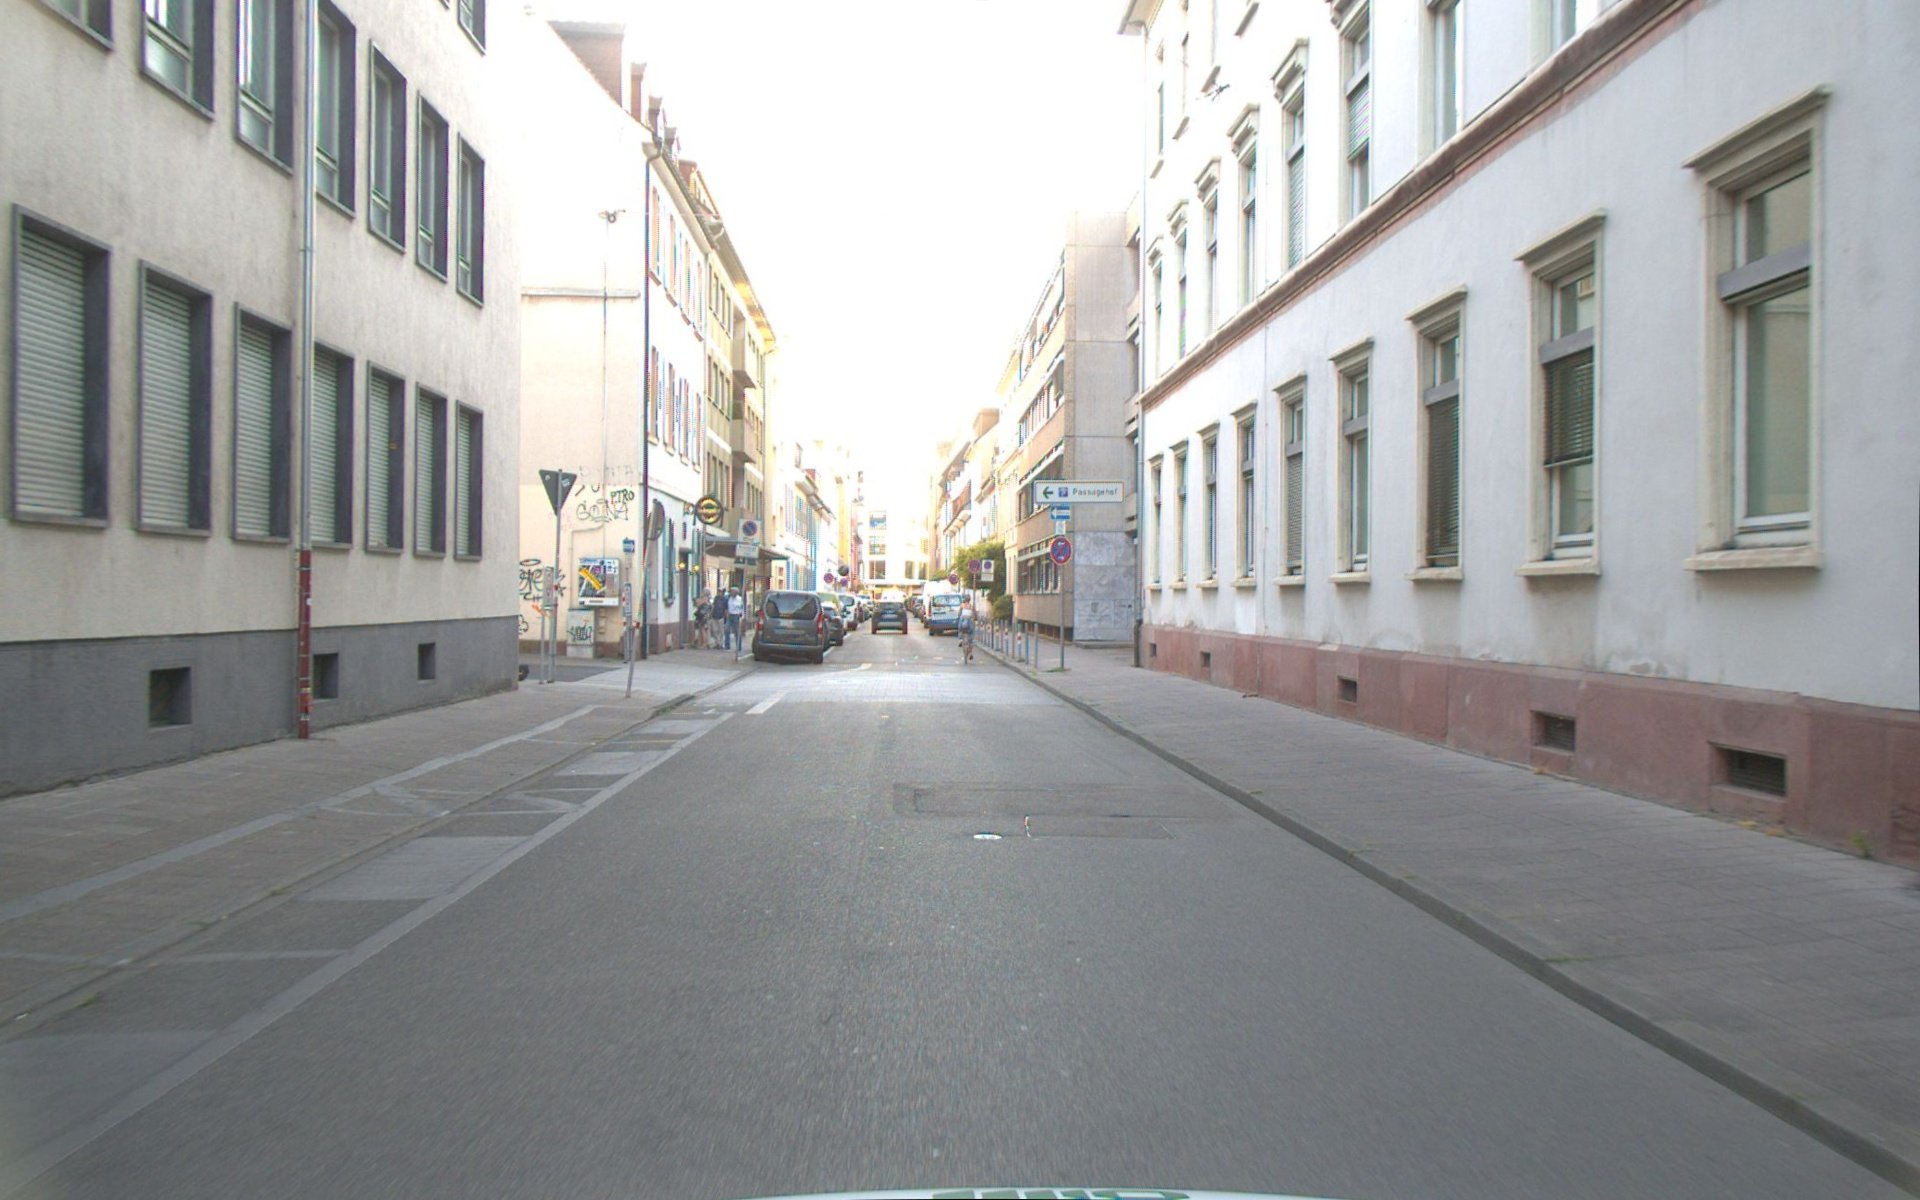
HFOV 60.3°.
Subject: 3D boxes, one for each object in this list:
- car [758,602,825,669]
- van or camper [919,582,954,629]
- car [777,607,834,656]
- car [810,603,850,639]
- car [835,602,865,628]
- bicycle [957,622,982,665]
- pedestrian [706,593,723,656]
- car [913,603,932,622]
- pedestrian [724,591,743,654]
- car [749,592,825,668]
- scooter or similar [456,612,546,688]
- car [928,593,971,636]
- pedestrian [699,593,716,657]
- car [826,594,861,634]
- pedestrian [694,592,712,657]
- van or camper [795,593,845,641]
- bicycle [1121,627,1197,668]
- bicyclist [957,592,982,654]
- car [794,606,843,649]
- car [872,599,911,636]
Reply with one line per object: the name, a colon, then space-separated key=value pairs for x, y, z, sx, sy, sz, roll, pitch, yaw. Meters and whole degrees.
car: x=-4.899 y=0.993 z=48.464 sx=1.737 sy=1.843 sz=4.507 roll=1 pitch=0 yaw=-3
van or camper: x=-1.413 y=0.338 z=97.507 sx=2.008 sy=2.684 sz=7.060 roll=0 pitch=0 yaw=-1
car: x=-4.947 y=0.998 z=53.252 sx=1.591 sy=1.511 sz=3.876 roll=0 pitch=0 yaw=-2
car: x=-5.922 y=0.942 z=75.500 sx=1.629 sy=1.474 sz=3.519 roll=4 pitch=-1 yaw=-3
car: x=-7.463 y=1.008 z=112.560 sx=1.766 sy=1.706 sz=4.489 roll=0 pitch=0 yaw=-1
bicycle: x=0.254 y=1.137 z=43.675 sx=0.601 sy=1.101 sz=1.809 roll=1 pitch=-1 yaw=-1
pedestrian: x=-7.002 y=0.693 z=47.154 sx=0.398 sy=1.780 sz=0.470 roll=1 pitch=-1 yaw=-1
car: x=-3.320 y=1.094 z=147.207 sx=1.620 sy=1.588 sz=3.604 roll=2 pitch=0 yaw=-2
pedestrian: x=-6.380 y=0.629 z=46.603 sx=0.440 sy=1.780 sz=0.470 roll=1 pitch=-1 yaw=-1
car: x=-4.499 y=0.752 z=43.353 sx=1.840 sy=1.843 sz=4.446 roll=1 pitch=0 yaw=-5
scooter or similar: x=-7.840 y=0.854 z=28.242 sx=1.345 sy=1.222 sz=0.528 roll=4 pitch=-2 yaw=-27
car: x=-0.530 y=0.647 z=77.392 sx=1.897 sy=1.931 sz=5.274 roll=0 pitch=0 yaw=-2
pedestrian: x=-7.082 y=0.687 z=46.427 sx=0.398 sy=1.780 sz=0.470 roll=1 pitch=-1 yaw=-1
car: x=-6.195 y=0.722 z=88.226 sx=1.825 sy=2.049 sz=5.102 roll=0 pitch=0 yaw=-4
pedestrian: x=-7.124 y=0.682 z=45.893 sx=0.398 sy=1.780 sz=0.470 roll=1 pitch=-1 yaw=-1
van or camper: x=-5.578 y=0.670 z=66.255 sx=1.736 sy=1.880 sz=4.177 roll=0 pitch=0 yaw=-1
bicycle: x=4.746 y=1.128 z=39.441 sx=1.707 sy=0.939 sz=0.537 roll=1 pitch=-1 yaw=-10
bicyclist: x=0.254 y=0.606 z=43.737 sx=0.608 sy=1.602 sz=0.683 roll=1 pitch=-1 yaw=-1
car: x=-4.945 y=0.939 z=58.174 sx=1.592 sy=1.441 sz=3.977 roll=1 pitch=-1 yaw=-4
car: x=-3.248 y=0.811 z=78.220 sx=1.783 sy=1.646 sz=3.998 roll=2 pitch=0 yaw=-3
